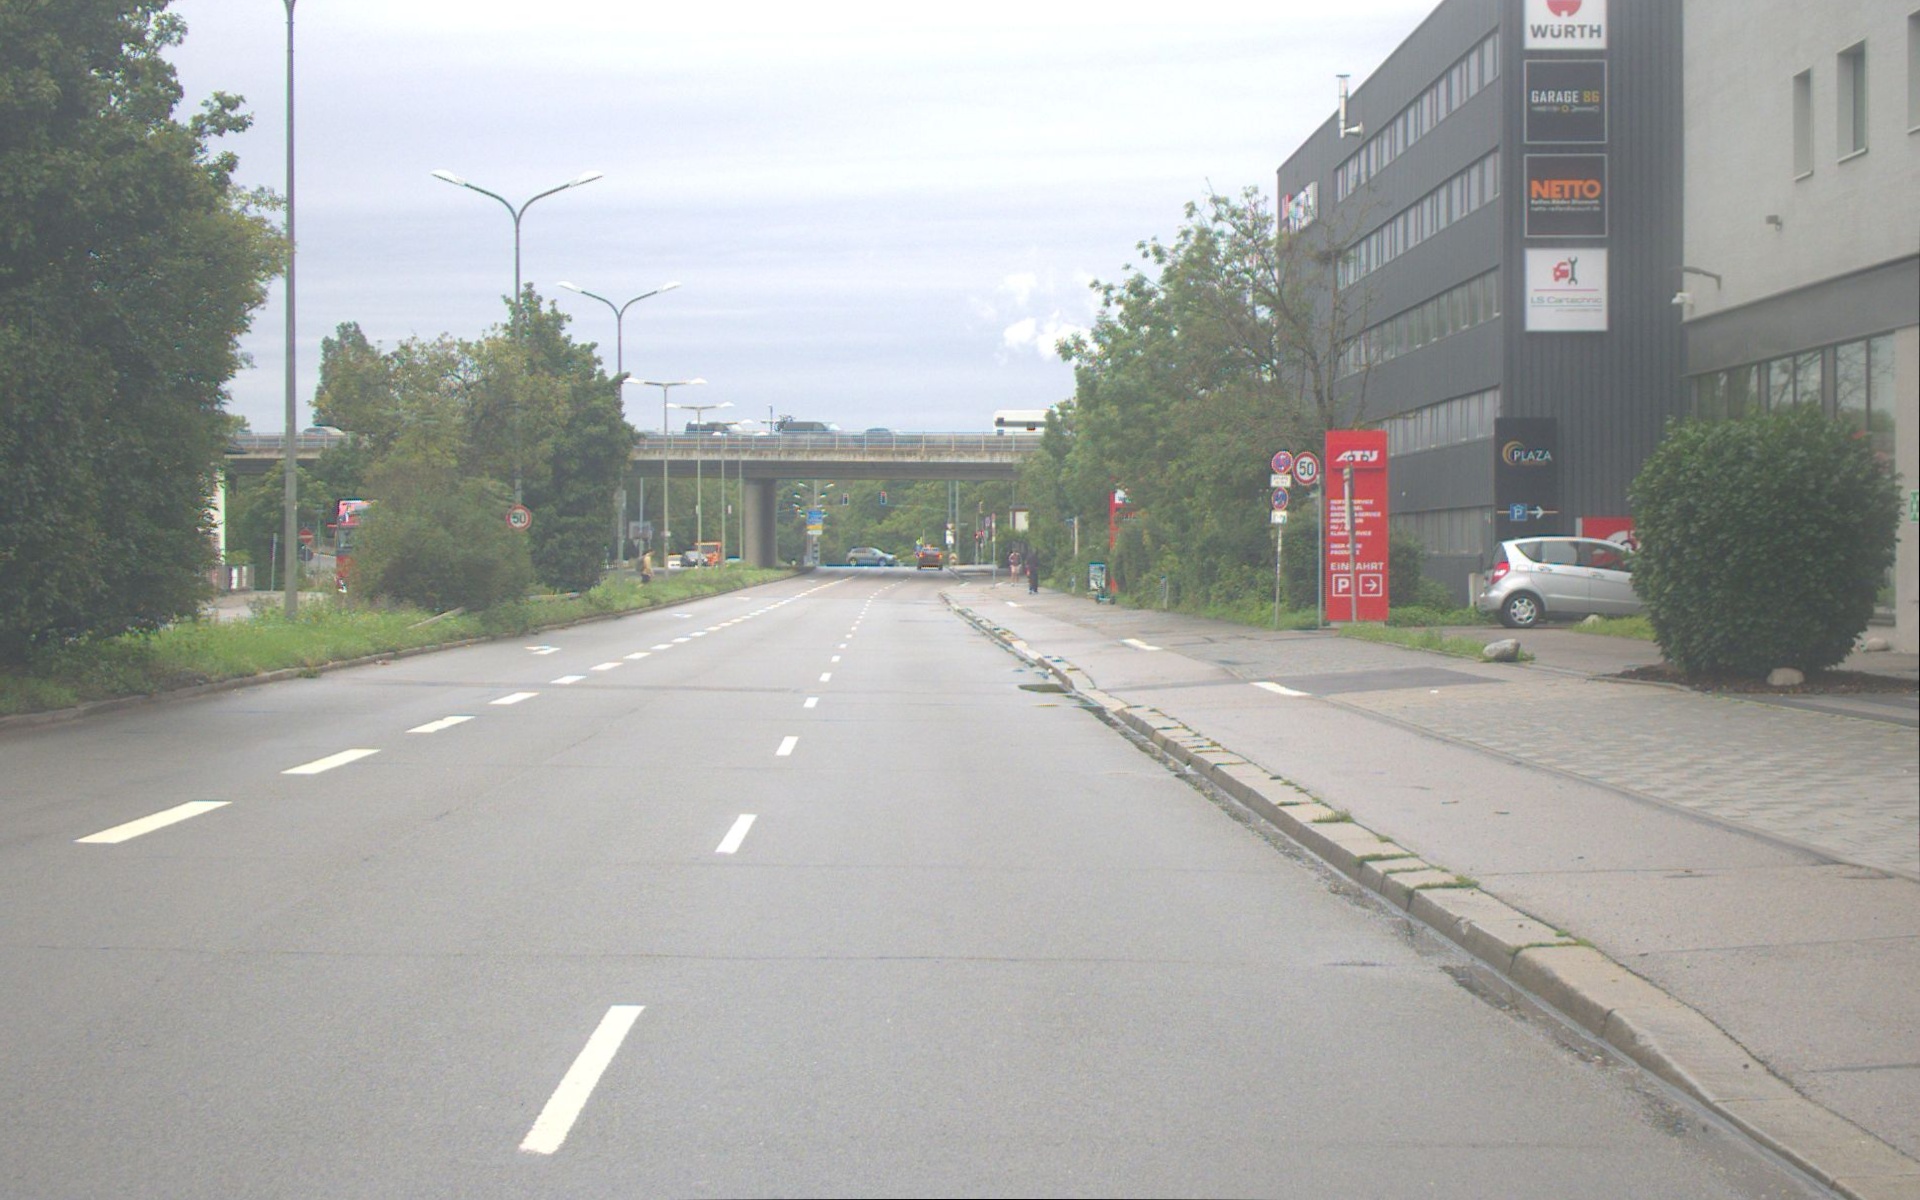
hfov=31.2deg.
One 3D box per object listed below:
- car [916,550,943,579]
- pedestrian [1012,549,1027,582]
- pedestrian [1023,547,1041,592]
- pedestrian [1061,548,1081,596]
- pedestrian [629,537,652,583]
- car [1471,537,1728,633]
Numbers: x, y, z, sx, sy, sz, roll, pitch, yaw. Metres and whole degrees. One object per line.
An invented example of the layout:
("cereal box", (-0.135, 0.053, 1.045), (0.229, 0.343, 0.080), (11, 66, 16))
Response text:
("car", (-2.194, -2.576, 249.044), (1.812, 2.007, 3.833), (1, 1, 0))
("pedestrian", (2.964, -1.722, 170.452), (0.688, 1.611, 0.662), (-1, 1, -1))
("pedestrian", (2.999, -1.261, 143.617), (0.688, 1.870, 0.662), (-1, 1, -1))
("pedestrian", (4.317, -1.095, 133.575), (0.688, 1.870, 0.662), (-1, 1, -1))
("pedestrian", (-11.438, -1.440, 123.050), (0.660, 1.611, 0.691), (-1, 1, 4))
("car", (10.880, -0.269, 58.690), (4.013, 1.552, 1.820), (1, 1, 0))
